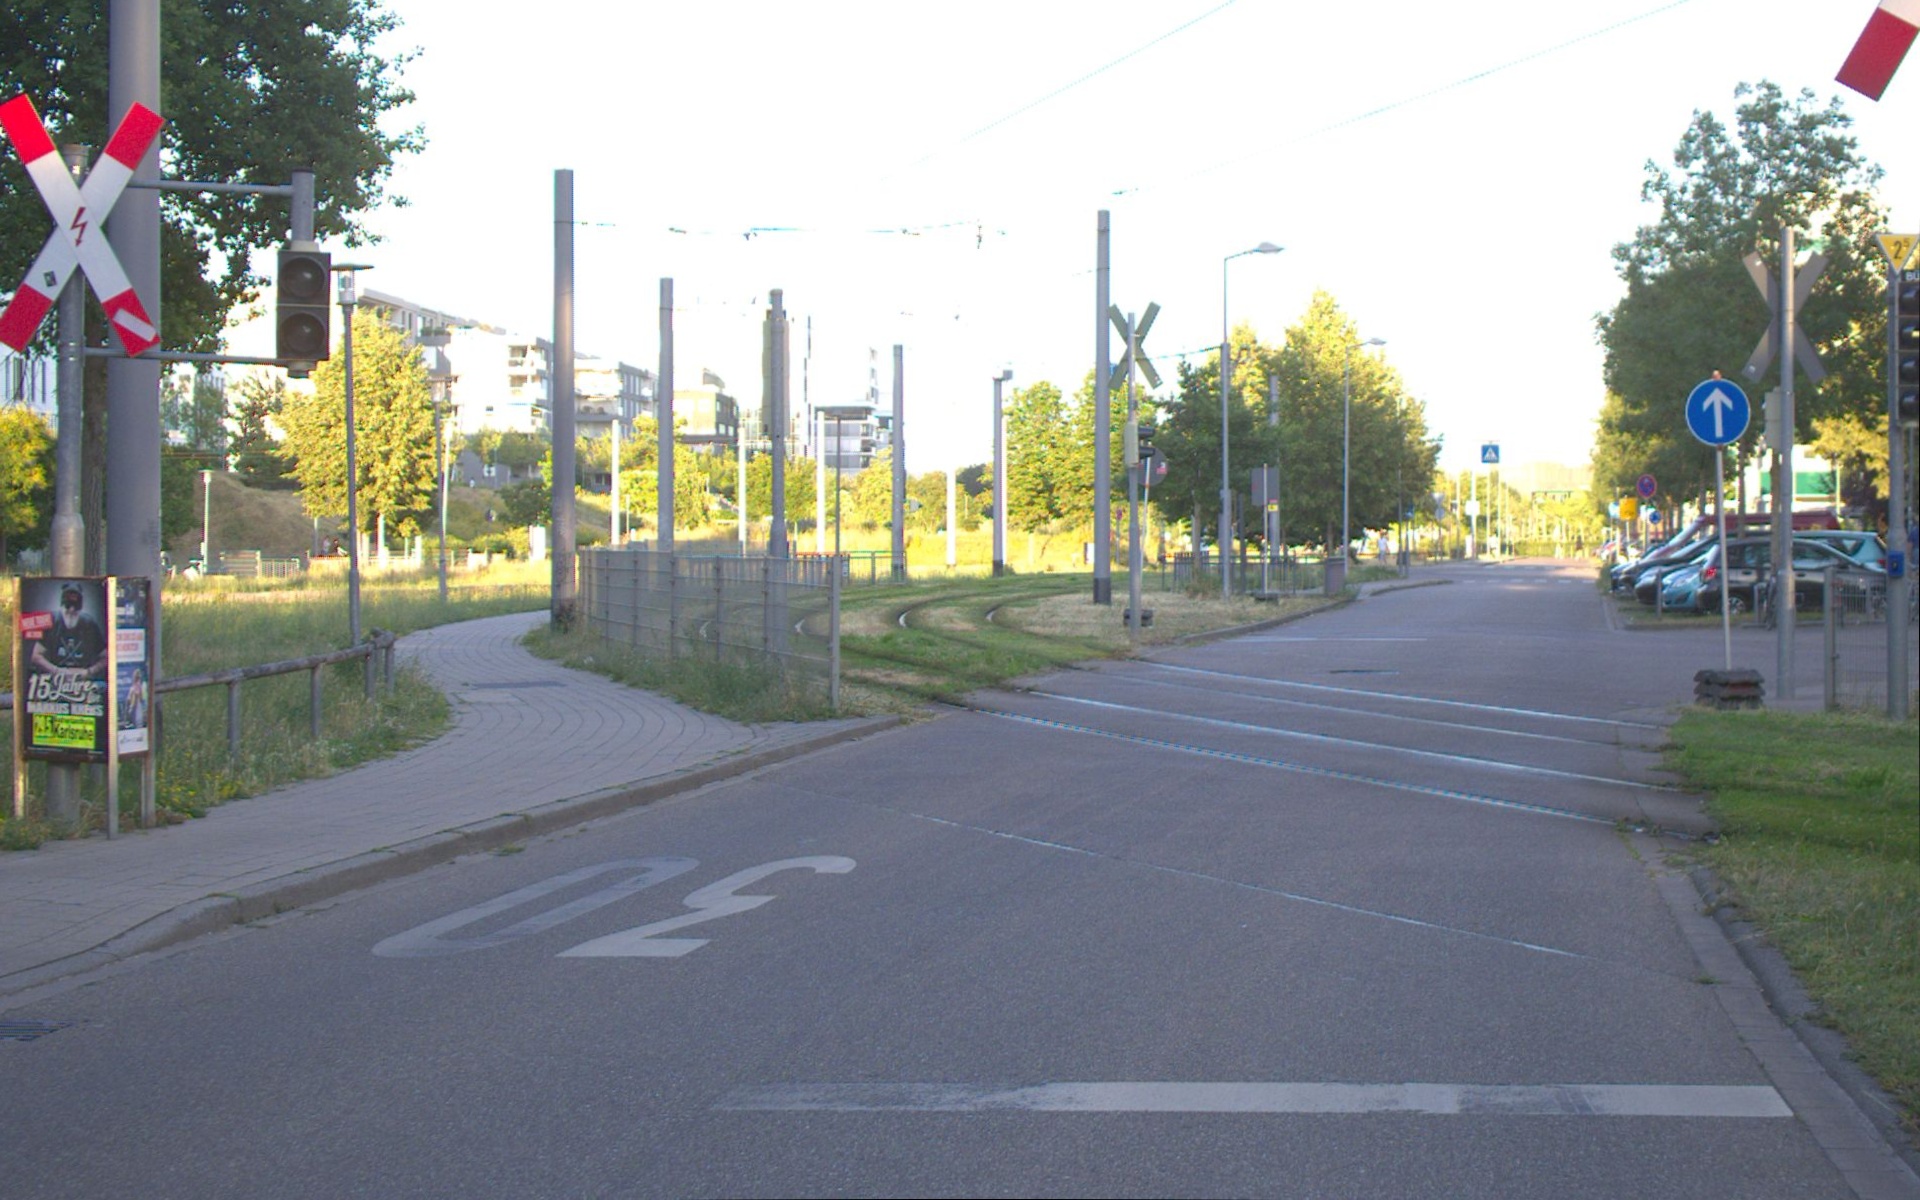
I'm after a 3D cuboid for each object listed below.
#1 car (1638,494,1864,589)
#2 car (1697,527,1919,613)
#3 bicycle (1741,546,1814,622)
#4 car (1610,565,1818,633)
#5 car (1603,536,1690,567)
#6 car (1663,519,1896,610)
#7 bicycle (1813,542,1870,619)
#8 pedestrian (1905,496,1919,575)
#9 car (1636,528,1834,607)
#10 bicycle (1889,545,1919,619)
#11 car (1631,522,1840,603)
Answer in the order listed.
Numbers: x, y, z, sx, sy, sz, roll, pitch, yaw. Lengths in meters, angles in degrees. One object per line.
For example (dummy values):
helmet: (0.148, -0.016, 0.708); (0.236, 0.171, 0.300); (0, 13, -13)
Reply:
car: (17.897, -1.338, 77.910); (4.922, 2.110, 2.016); (0, 1, 12)
car: (15.011, -0.543, 60.694); (3.750, 1.468, 1.613); (0, 1, 6)
bicycle: (13.323, -0.271, 56.089); (0.716, 1.148, 1.898); (-2, 3, 0)
car: (17.682, -0.045, 80.767); (4.671, 1.551, 1.810); (0, 1, 9)
car: (36.024, -2.534, 180.401); (4.487, 1.590, 1.999); (0, 1, 12)
car: (15.001, -0.650, 63.079); (4.052, 1.563, 1.672); (-1, 1, 11)
bicycle: (14.356, -0.329, 56.044); (0.679, 1.148, 1.927); (-2, 2, 9)
pedestrian: (21.316, -1.428, 76.186); (0.669, 1.737, 0.699); (0, 1, 10)
car: (15.382, -0.643, 68.377); (3.775, 1.490, 1.538); (0, -1, 10)
bicycle: (15.631, -0.305, 56.329); (0.529, 1.123, 1.962); (2, 3, 8)
car: (16.381, -0.794, 72.801); (4.217, 1.563, 1.792); (-2, 1, 11)
